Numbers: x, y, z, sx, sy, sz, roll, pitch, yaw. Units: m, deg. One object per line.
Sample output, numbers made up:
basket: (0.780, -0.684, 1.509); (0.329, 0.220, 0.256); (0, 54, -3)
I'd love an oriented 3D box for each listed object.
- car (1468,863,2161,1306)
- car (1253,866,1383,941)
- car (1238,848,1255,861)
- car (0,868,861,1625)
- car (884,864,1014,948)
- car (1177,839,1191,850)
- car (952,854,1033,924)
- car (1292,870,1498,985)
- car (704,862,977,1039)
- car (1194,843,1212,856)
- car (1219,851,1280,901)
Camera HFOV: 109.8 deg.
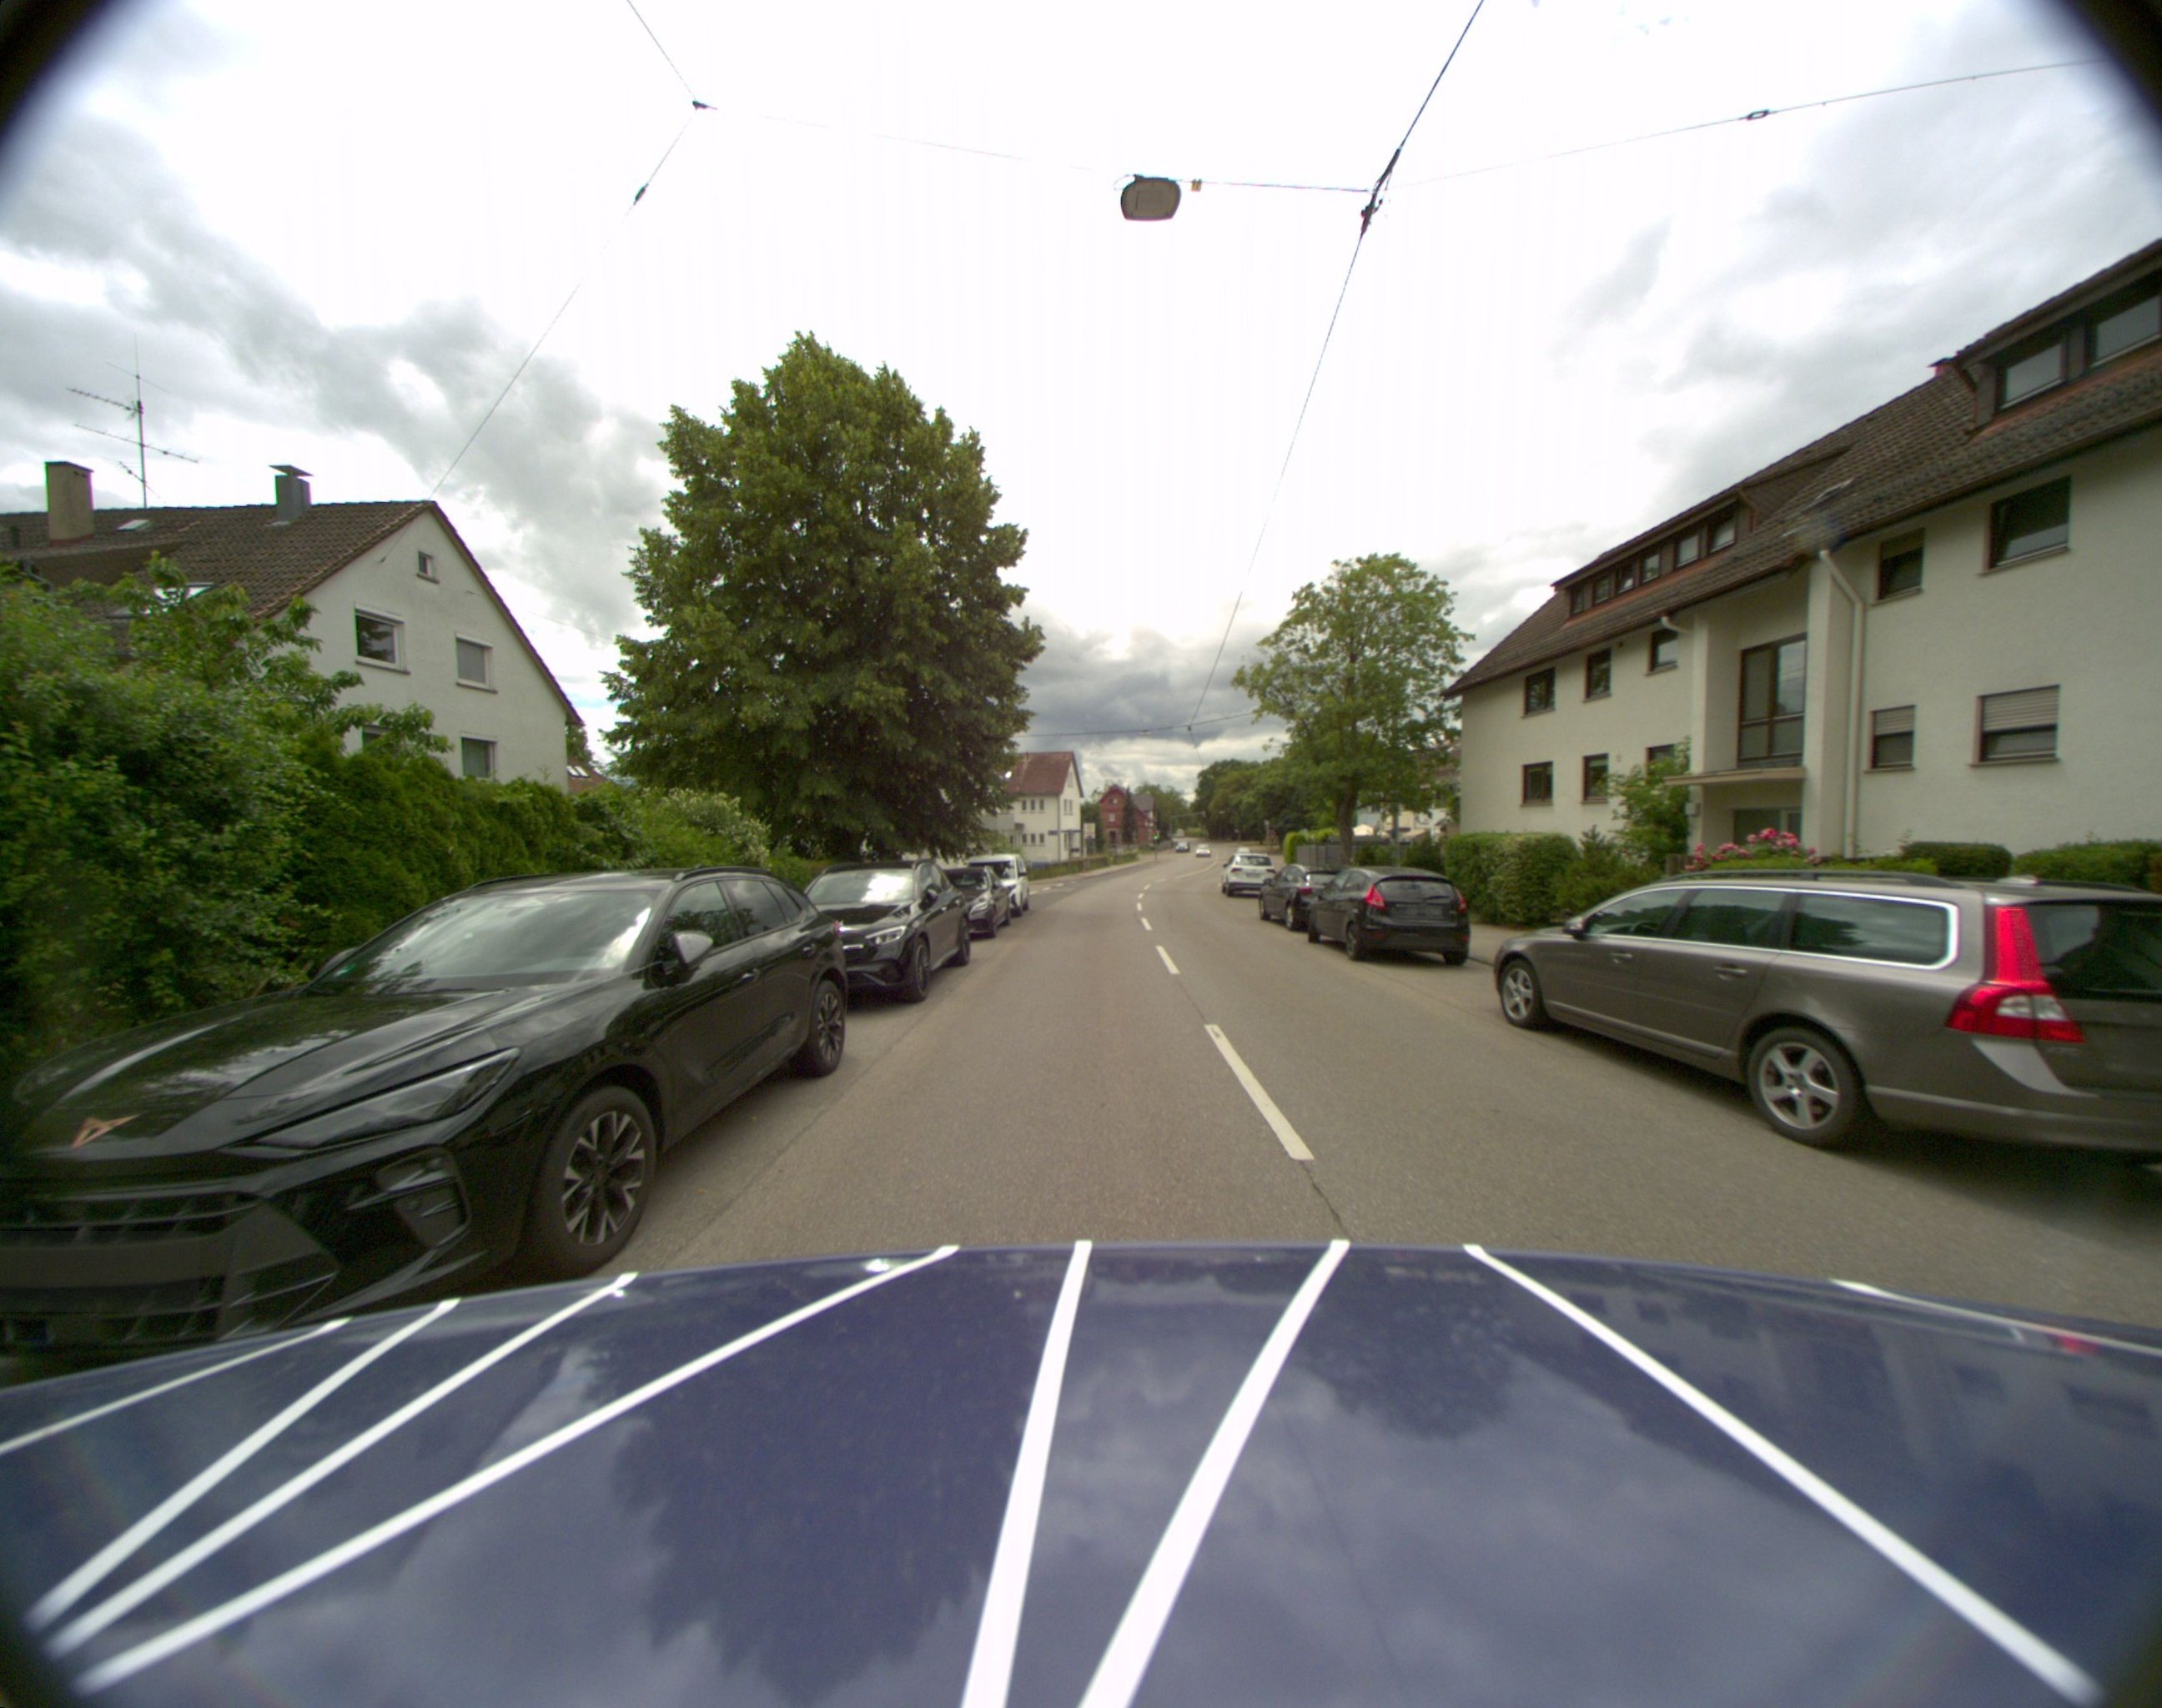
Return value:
car: (4.906, 0.983, 5.448); (1.851, 1.670, 4.786); (2, 1, 1)
car: (5.324, 1.053, 17.631); (1.767, 1.430, 4.078); (1, 0, 0)
car: (19.133, 0.084, 87.747); (1.714, 1.346, 4.087); (2, 2, 16)
car: (-2.802, 0.989, 4.034); (1.815, 1.606, 4.539); (-3, 1, 1)
car: (-2.731, 1.030, 16.889); (1.998, 1.469, 4.619); (-1, 1, 1)
car: (15.609, -1.377, 114.883); (1.924, 1.510, 4.002); (-1, 2, 11)
car: (-2.486, 0.933, 22.357); (1.842, 1.763, 4.317); (-3, 0, -1)
car: (4.976, 1.075, 12.732); (1.767, 1.430, 4.078); (3, 0, 1)
car: (-2.738, 1.001, 9.941); (1.998, 1.606, 4.539); (-3, 1, 1)
car: (15.257, -0.574, 95.108); (1.779, 1.510, 3.557); (-2, 2, 4)
car: (6.484, 0.777, 29.650); (1.853, 1.704, 4.576); (1, 1, 7)
